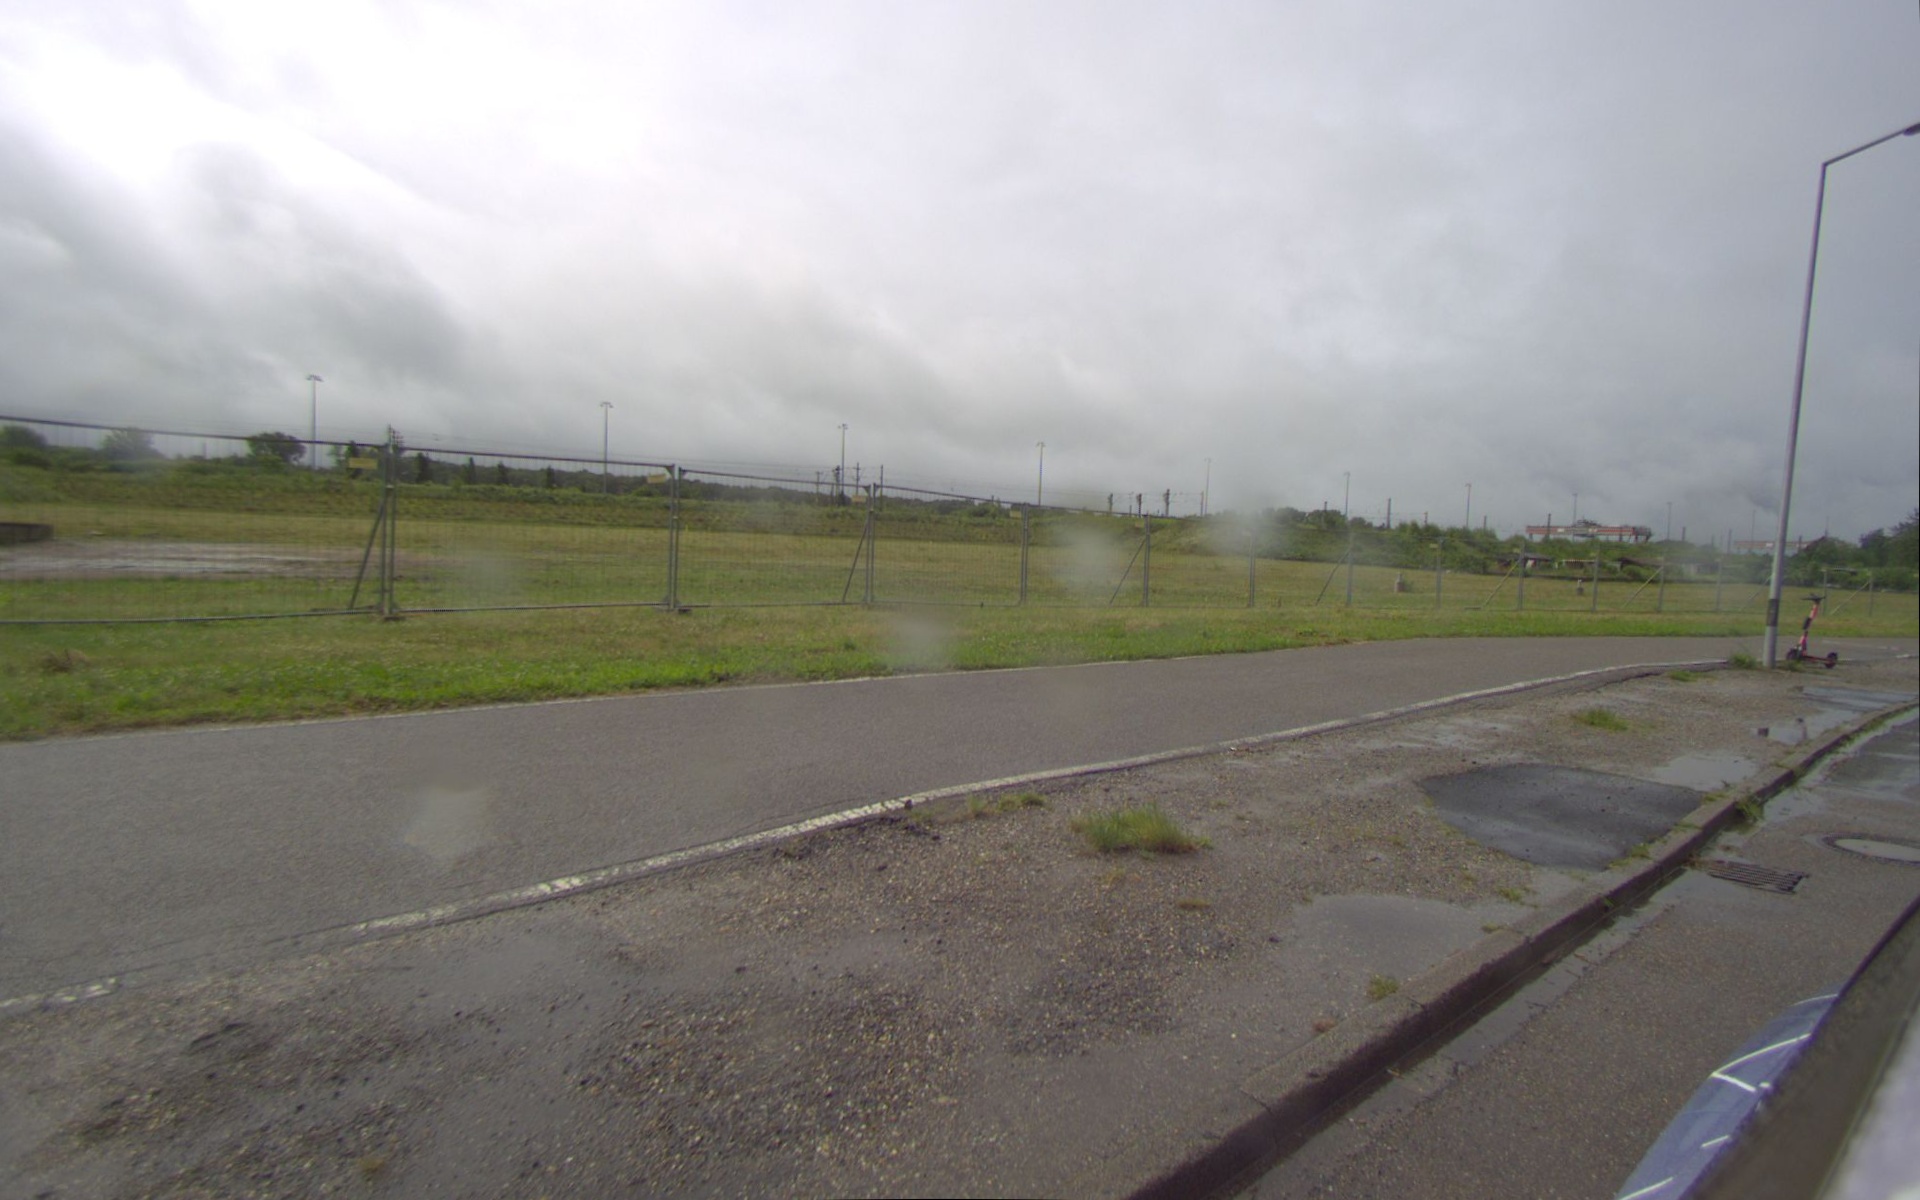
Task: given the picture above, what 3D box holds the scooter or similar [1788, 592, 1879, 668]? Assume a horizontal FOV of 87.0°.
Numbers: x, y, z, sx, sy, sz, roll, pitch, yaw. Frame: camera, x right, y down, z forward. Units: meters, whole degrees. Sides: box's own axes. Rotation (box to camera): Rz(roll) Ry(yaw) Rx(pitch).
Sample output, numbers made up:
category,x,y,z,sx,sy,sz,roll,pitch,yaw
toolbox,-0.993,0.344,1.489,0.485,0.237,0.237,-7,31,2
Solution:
category,x,y,z,sx,sy,sz,roll,pitch,yaw
scooter or similar,14.719,0.503,17.058,1.312,1.229,0.494,1,3,-19
